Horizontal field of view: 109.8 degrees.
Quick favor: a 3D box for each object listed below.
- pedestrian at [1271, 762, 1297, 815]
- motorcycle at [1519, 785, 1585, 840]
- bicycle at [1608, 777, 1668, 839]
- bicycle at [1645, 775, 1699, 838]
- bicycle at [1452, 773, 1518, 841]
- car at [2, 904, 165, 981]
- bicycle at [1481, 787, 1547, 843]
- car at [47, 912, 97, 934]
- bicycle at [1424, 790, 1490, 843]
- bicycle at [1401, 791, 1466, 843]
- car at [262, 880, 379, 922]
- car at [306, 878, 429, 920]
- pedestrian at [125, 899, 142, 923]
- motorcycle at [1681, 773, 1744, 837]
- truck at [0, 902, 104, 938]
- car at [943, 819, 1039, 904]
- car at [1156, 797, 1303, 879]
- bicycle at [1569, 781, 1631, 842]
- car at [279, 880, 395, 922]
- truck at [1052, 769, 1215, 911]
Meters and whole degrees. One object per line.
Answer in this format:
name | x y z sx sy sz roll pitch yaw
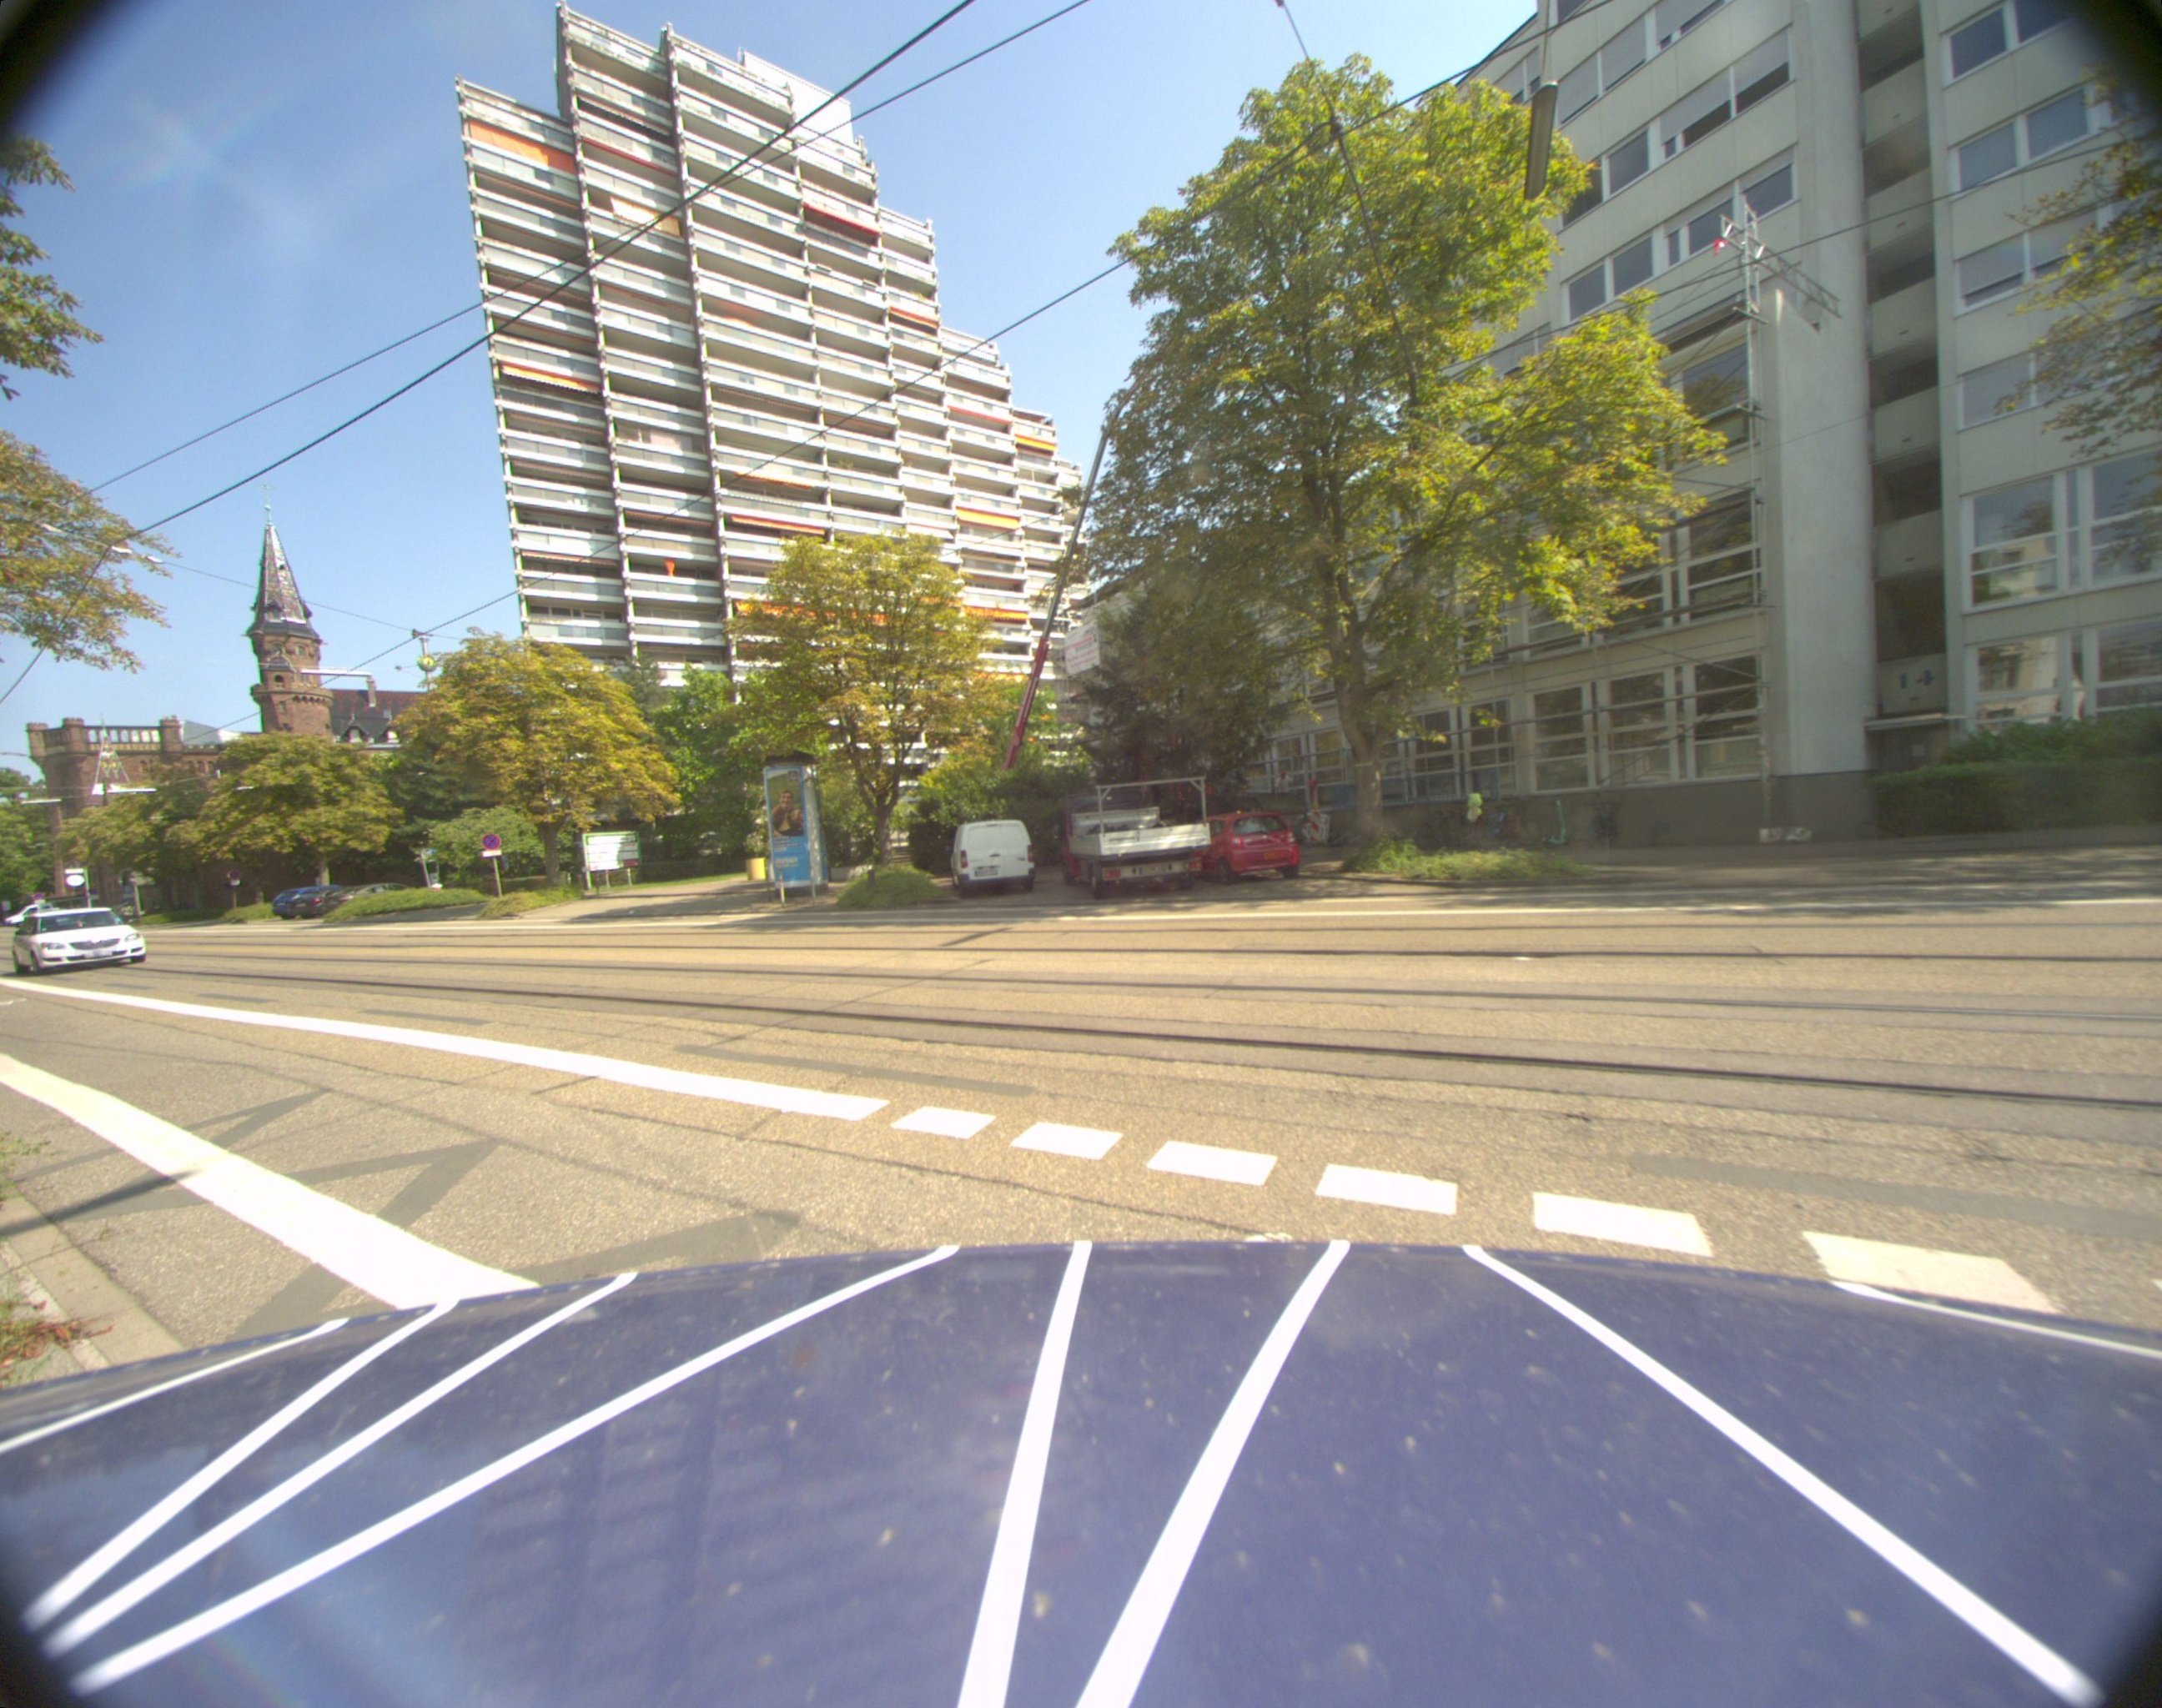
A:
pedestrian | 7.209 -2.317 26.992 0.739 1.777 0.830 -5 3 13
motorcycle | 11.527 -1.027 18.566 2.009 1.149 0.742 -9 6 -40
bicycle | 12.586 -1.051 17.140 2.349 1.163 0.620 -10 6 -42
bicycle | 12.987 -1.064 16.670 2.349 1.163 0.560 -10 6 -43
bicycle | 10.405 -1.223 19.518 2.349 1.518 0.600 -9 6 -40
car | -24.846 2.165 18.905 4.009 1.484 1.827 -4 3 30
bicycle | 10.861 -1.001 19.024 2.349 1.163 0.600 -9 6 -40
car | -82.556 5.633 62.169 4.503 1.494 1.944 -4 3 32
bicycle | 9.967 -1.006 20.094 2.349 1.154 0.600 -9 6 -40
bicycle | 9.565 -1.019 20.575 2.349 1.154 0.600 -9 6 -40
car | -41.129 2.506 41.238 1.839 1.639 4.000 -5 3 7
car | -35.616 2.211 38.112 1.779 1.489 4.295 -5 3 4
pedestrian | -81.573 4.889 65.396 0.505 1.970 0.518 -6 4 -16
motorcycle | 13.517 -1.064 16.234 1.847 1.176 0.693 -9 6 -40
truck | -113.893 7.272 84.080 2.312 2.513 6.519 -4 7 31
car | -2.407 0.121 19.341 1.826 1.762 4.280 -6 2 -13
car | 3.180 -0.367 17.082 1.721 1.500 3.854 -5 2 -13
bicycle | 12.087 -1.008 17.658 2.349 1.163 0.620 -10 6 -42
car | -38.429 2.378 39.402 1.779 1.561 3.999 -5 3 4
truck | 0.872 -0.383 16.846 2.150 2.421 5.961 -5 3 -9
